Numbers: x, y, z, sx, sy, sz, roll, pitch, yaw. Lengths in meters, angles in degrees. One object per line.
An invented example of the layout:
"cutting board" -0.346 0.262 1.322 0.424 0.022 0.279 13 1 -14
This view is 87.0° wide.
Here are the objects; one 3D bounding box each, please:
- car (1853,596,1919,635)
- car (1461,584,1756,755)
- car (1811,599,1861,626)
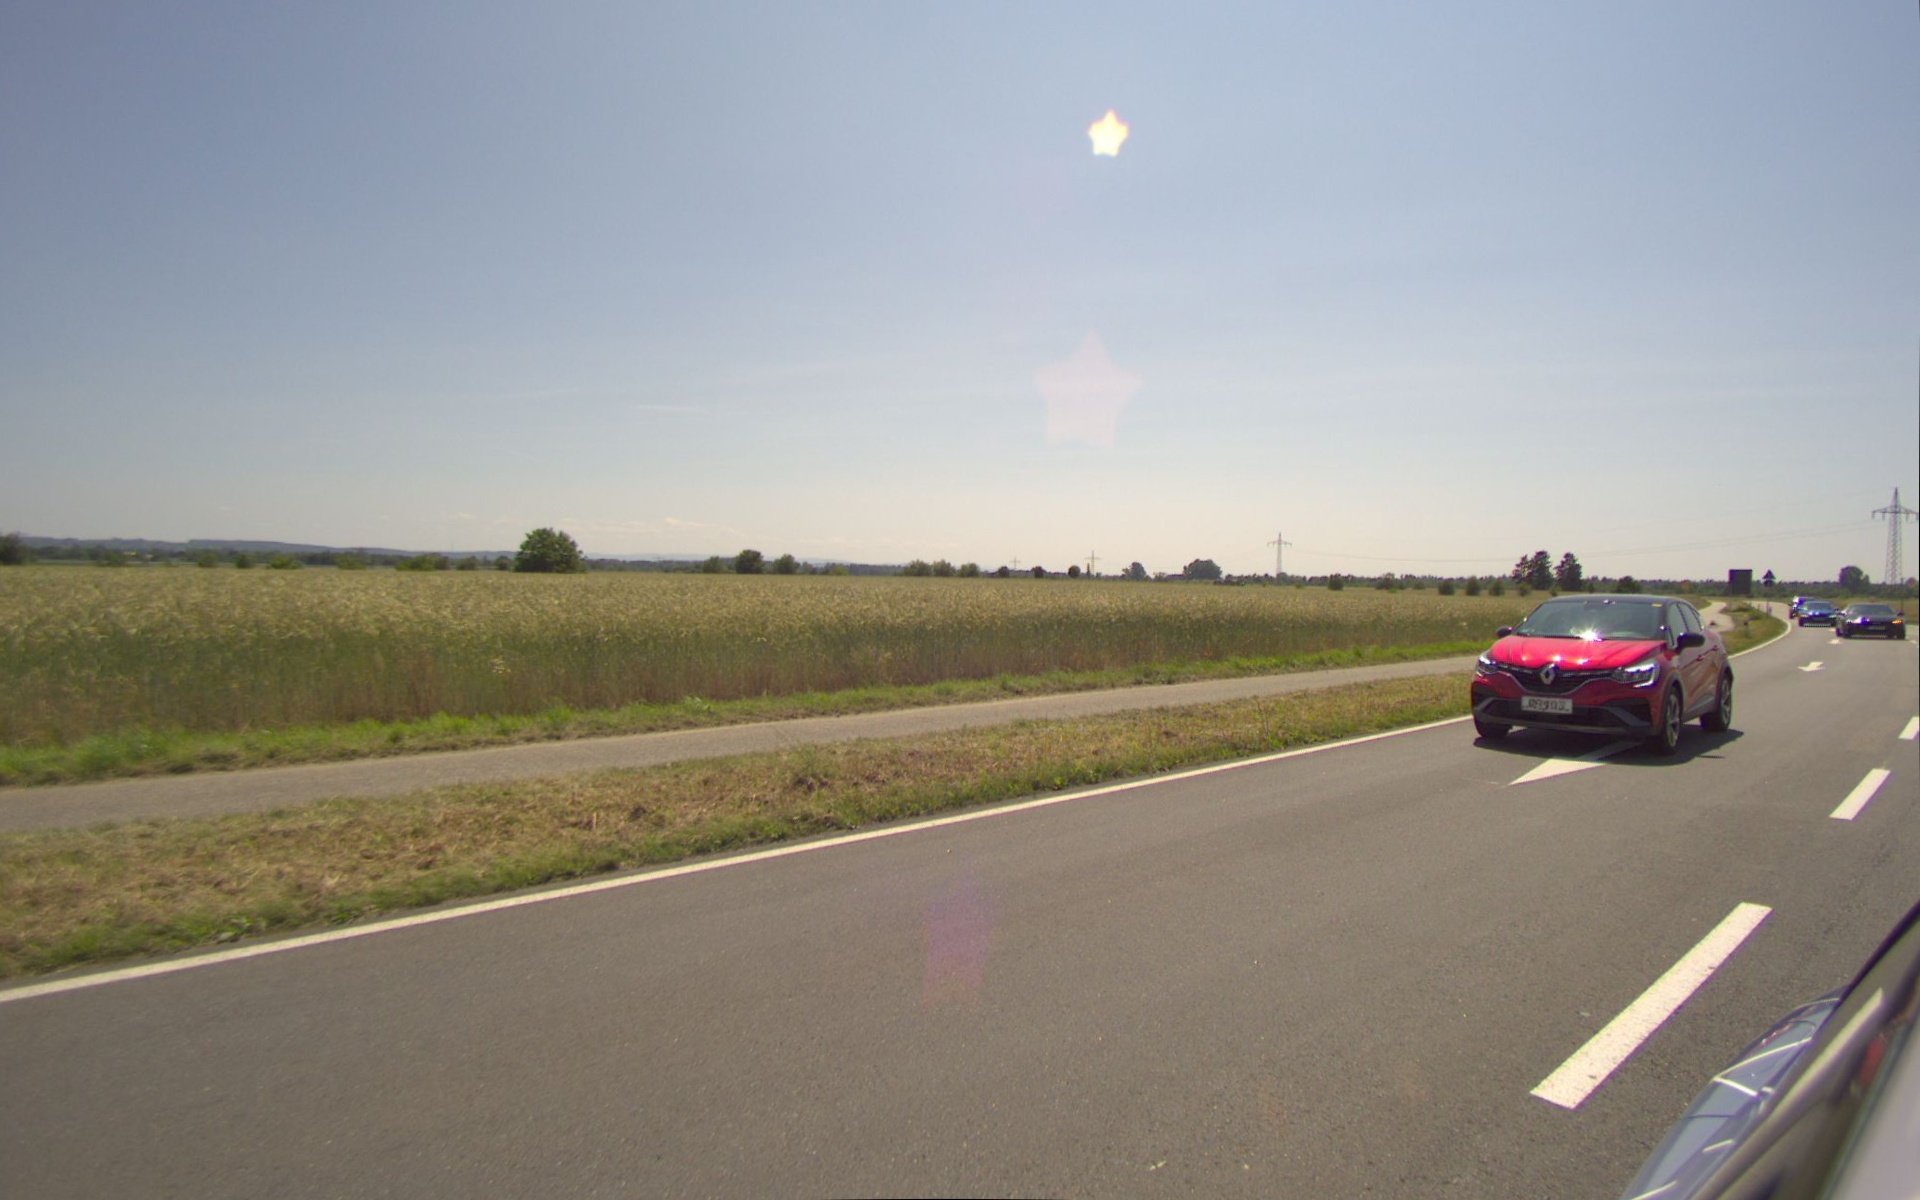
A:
"car" 38.271 0.593 41.606 2.181 1.485 4.942 0 0 40
"car" 7.456 0.618 11.442 4.375 1.572 1.824 0 0 -43
"car" 52.222 0.713 60.353 2.181 1.485 4.940 0 0 41
